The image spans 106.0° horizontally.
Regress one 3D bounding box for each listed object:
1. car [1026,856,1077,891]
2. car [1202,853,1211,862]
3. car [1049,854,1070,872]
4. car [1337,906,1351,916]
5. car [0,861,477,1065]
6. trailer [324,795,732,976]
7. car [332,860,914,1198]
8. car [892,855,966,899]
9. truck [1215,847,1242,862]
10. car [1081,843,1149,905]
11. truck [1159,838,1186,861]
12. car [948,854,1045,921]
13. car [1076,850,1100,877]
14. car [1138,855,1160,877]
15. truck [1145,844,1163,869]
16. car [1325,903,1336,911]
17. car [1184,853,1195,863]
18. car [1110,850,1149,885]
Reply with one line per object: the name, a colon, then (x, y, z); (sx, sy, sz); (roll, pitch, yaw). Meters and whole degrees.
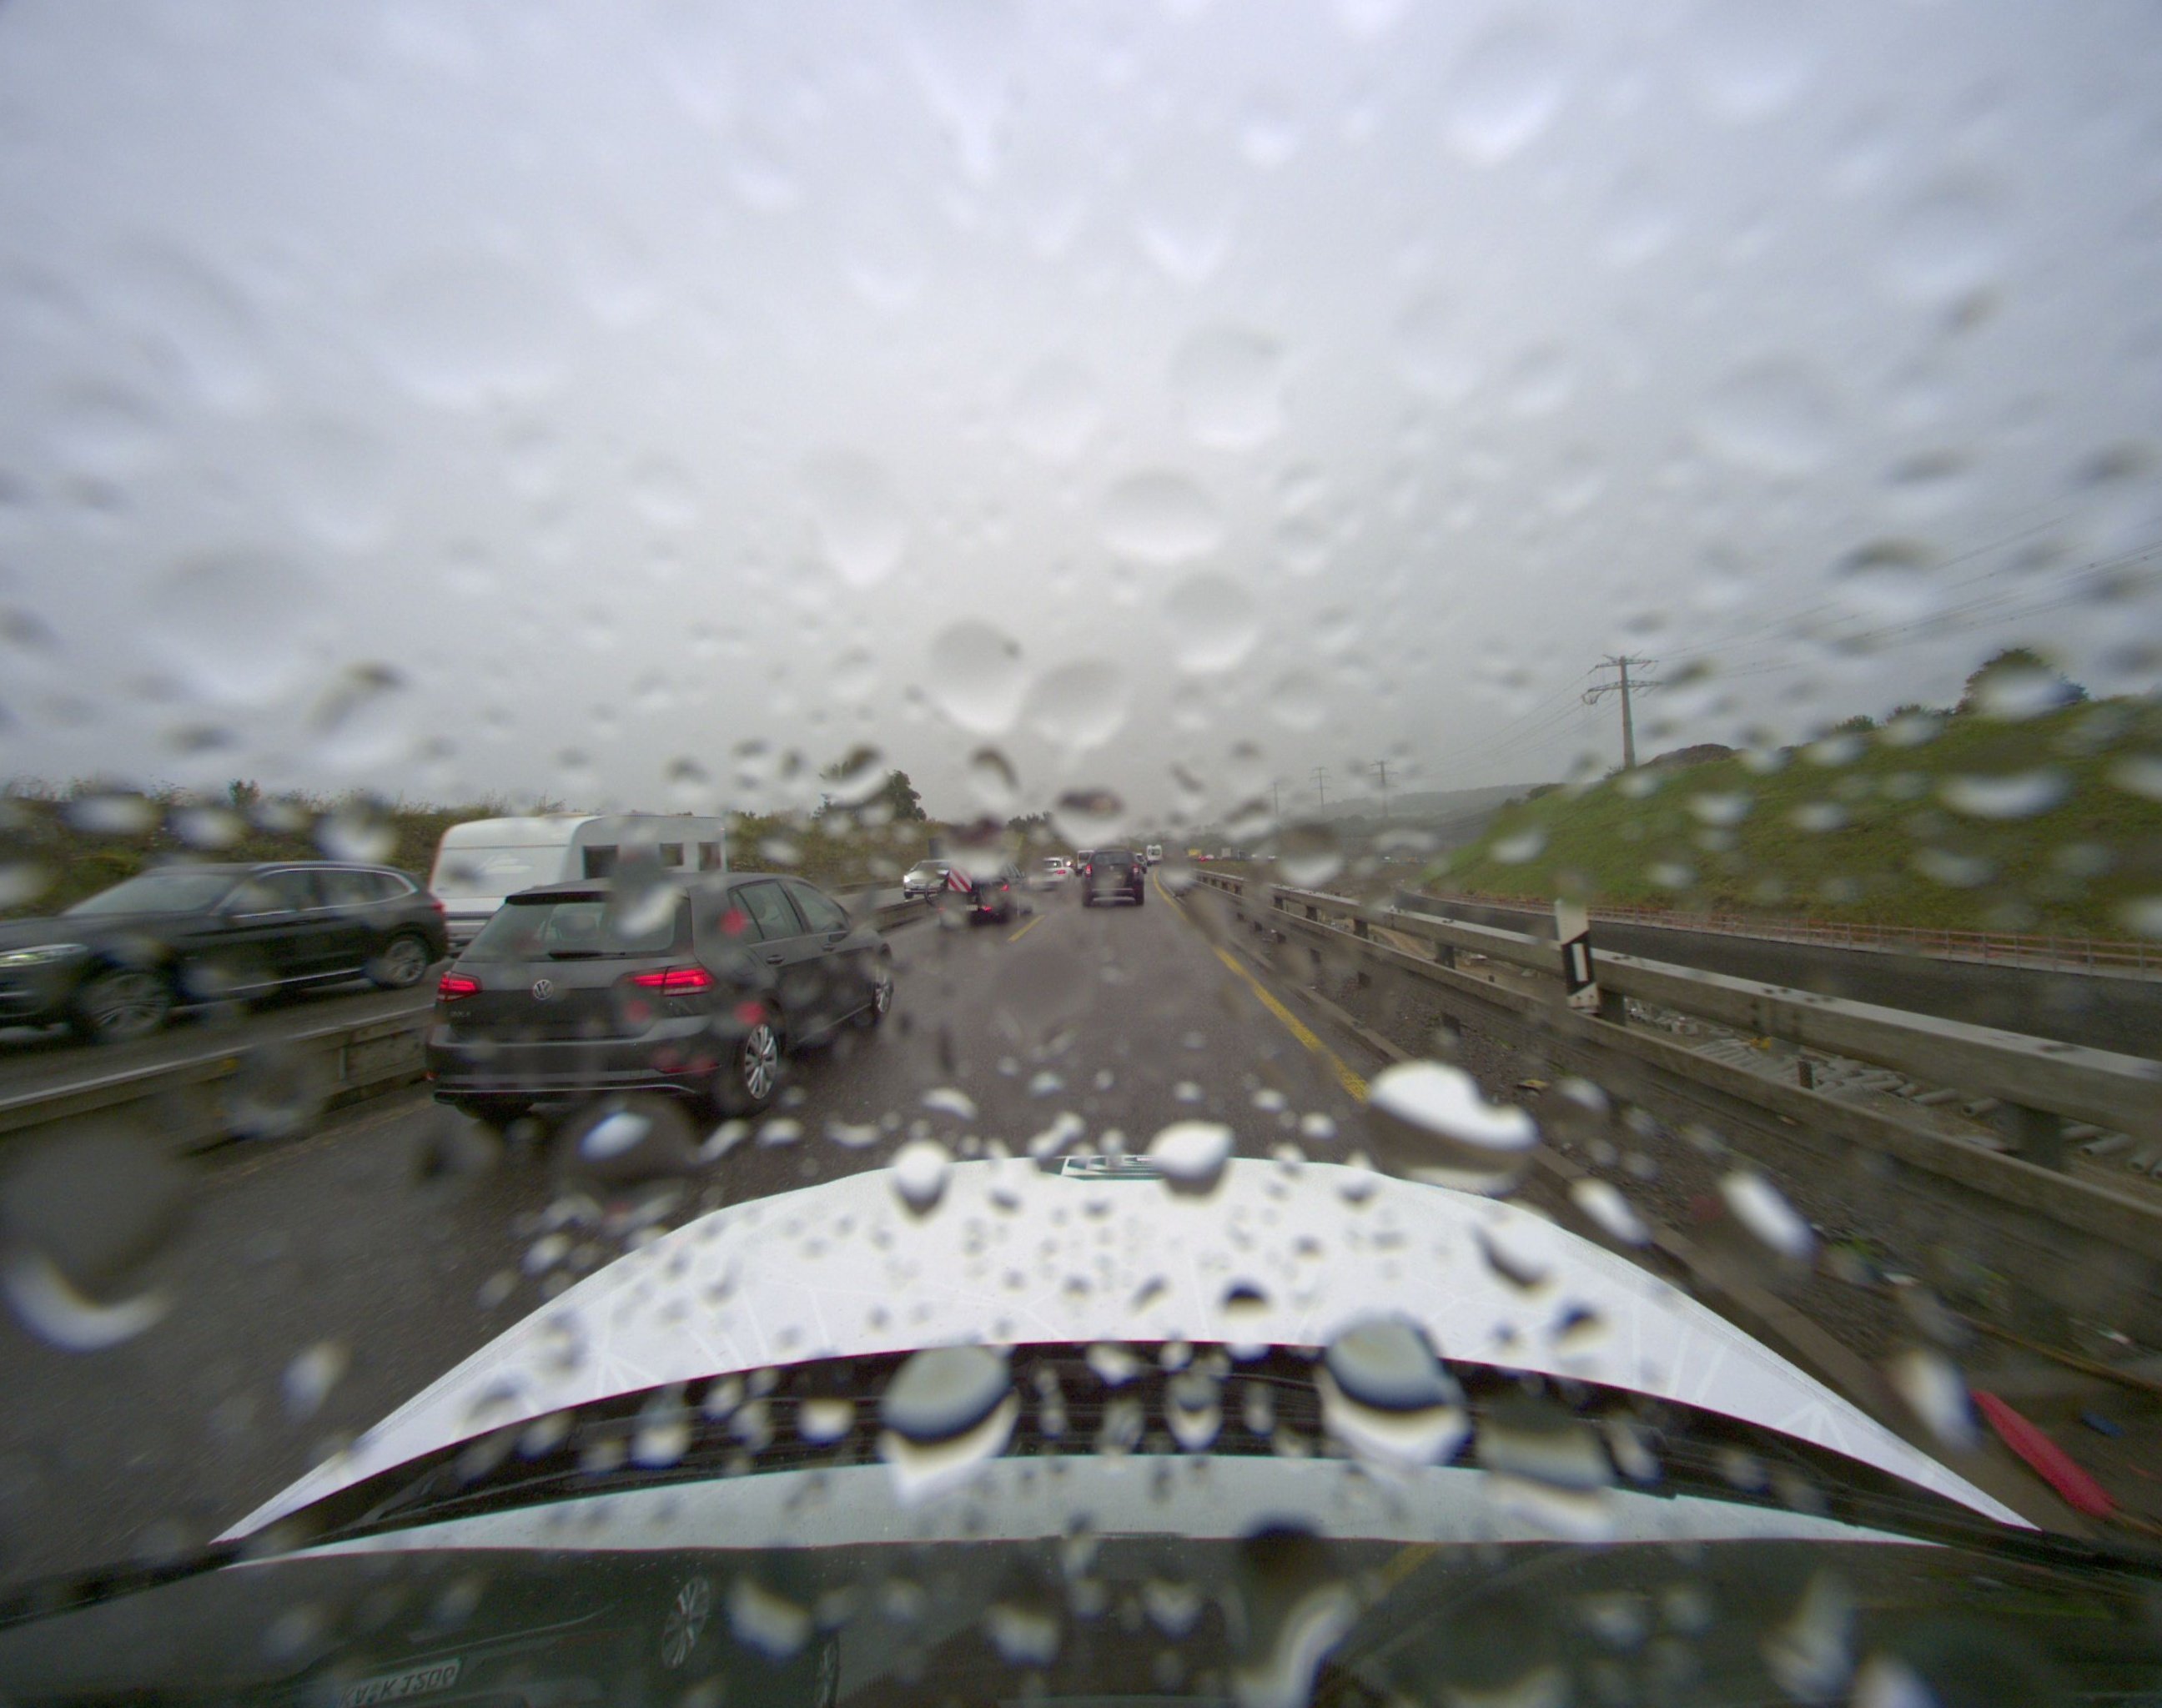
car: (-1.246, 0.832, 36.585); (1.860, 1.460, 4.552); (0, 0, 3)
car: (27.299, 0.761, 177.208); (1.763, 1.916, 4.013); (0, 0, 12)
car: (-1.961, 0.845, 75.974); (1.721, 1.577, 3.722); (-1, -1, 1)
car: (57.860, 12.562, 179.473); (2.351, 2.013, 4.010); (0, 0, 9)
car: (-9.656, 0.914, 9.011); (1.986, 1.586, 5.121); (-1, 0, 2)
trailer: (-9.459, 0.441, 15.234); (2.500, 2.564, 7.166); (-1, 0, 2)
car: (-2.617, 0.843, 6.024); (1.607, 1.506, 4.371); (-3, 0, 3)
car: (-5.860, 0.836, 31.946); (1.870, 1.500, 4.338); (-1, 1, 2)
truck: (42.938, 0.070, 236.584); (4.677, 4.150, 15.764); (0, 0, 21)
car: (1.048, 0.571, 24.033); (1.796, 1.646, 3.780); (-1, -1, 4)
truck: (15.250, -0.691, 135.302); (3.177, 3.761, 8.542); (0, 0, 15)
car: (-2.009, 0.773, 20.336); (1.821, 1.476, 3.779); (-1, -1, 3)
car: (0.534, 0.665, 59.686); (1.654, 1.880, 4.021); (0, 0, 2)
car: (5.211, 0.876, 62.372); (1.524, 1.640, 4.015); (0, 0, 2)
truck: (9.674, 0.363, 108.147); (2.140, 3.166, 6.466); (0, 0, 4)
car: (60.082, 12.773, 196.124); (1.981, 1.816, 4.012); (-1, -1, 11)
car: (20.868, 0.742, 156.324); (1.763, 1.916, 4.013); (0, 0, 12)
car: (2.475, 0.671, 41.772); (1.860, 1.708, 4.003); (-1, 0, 3)
